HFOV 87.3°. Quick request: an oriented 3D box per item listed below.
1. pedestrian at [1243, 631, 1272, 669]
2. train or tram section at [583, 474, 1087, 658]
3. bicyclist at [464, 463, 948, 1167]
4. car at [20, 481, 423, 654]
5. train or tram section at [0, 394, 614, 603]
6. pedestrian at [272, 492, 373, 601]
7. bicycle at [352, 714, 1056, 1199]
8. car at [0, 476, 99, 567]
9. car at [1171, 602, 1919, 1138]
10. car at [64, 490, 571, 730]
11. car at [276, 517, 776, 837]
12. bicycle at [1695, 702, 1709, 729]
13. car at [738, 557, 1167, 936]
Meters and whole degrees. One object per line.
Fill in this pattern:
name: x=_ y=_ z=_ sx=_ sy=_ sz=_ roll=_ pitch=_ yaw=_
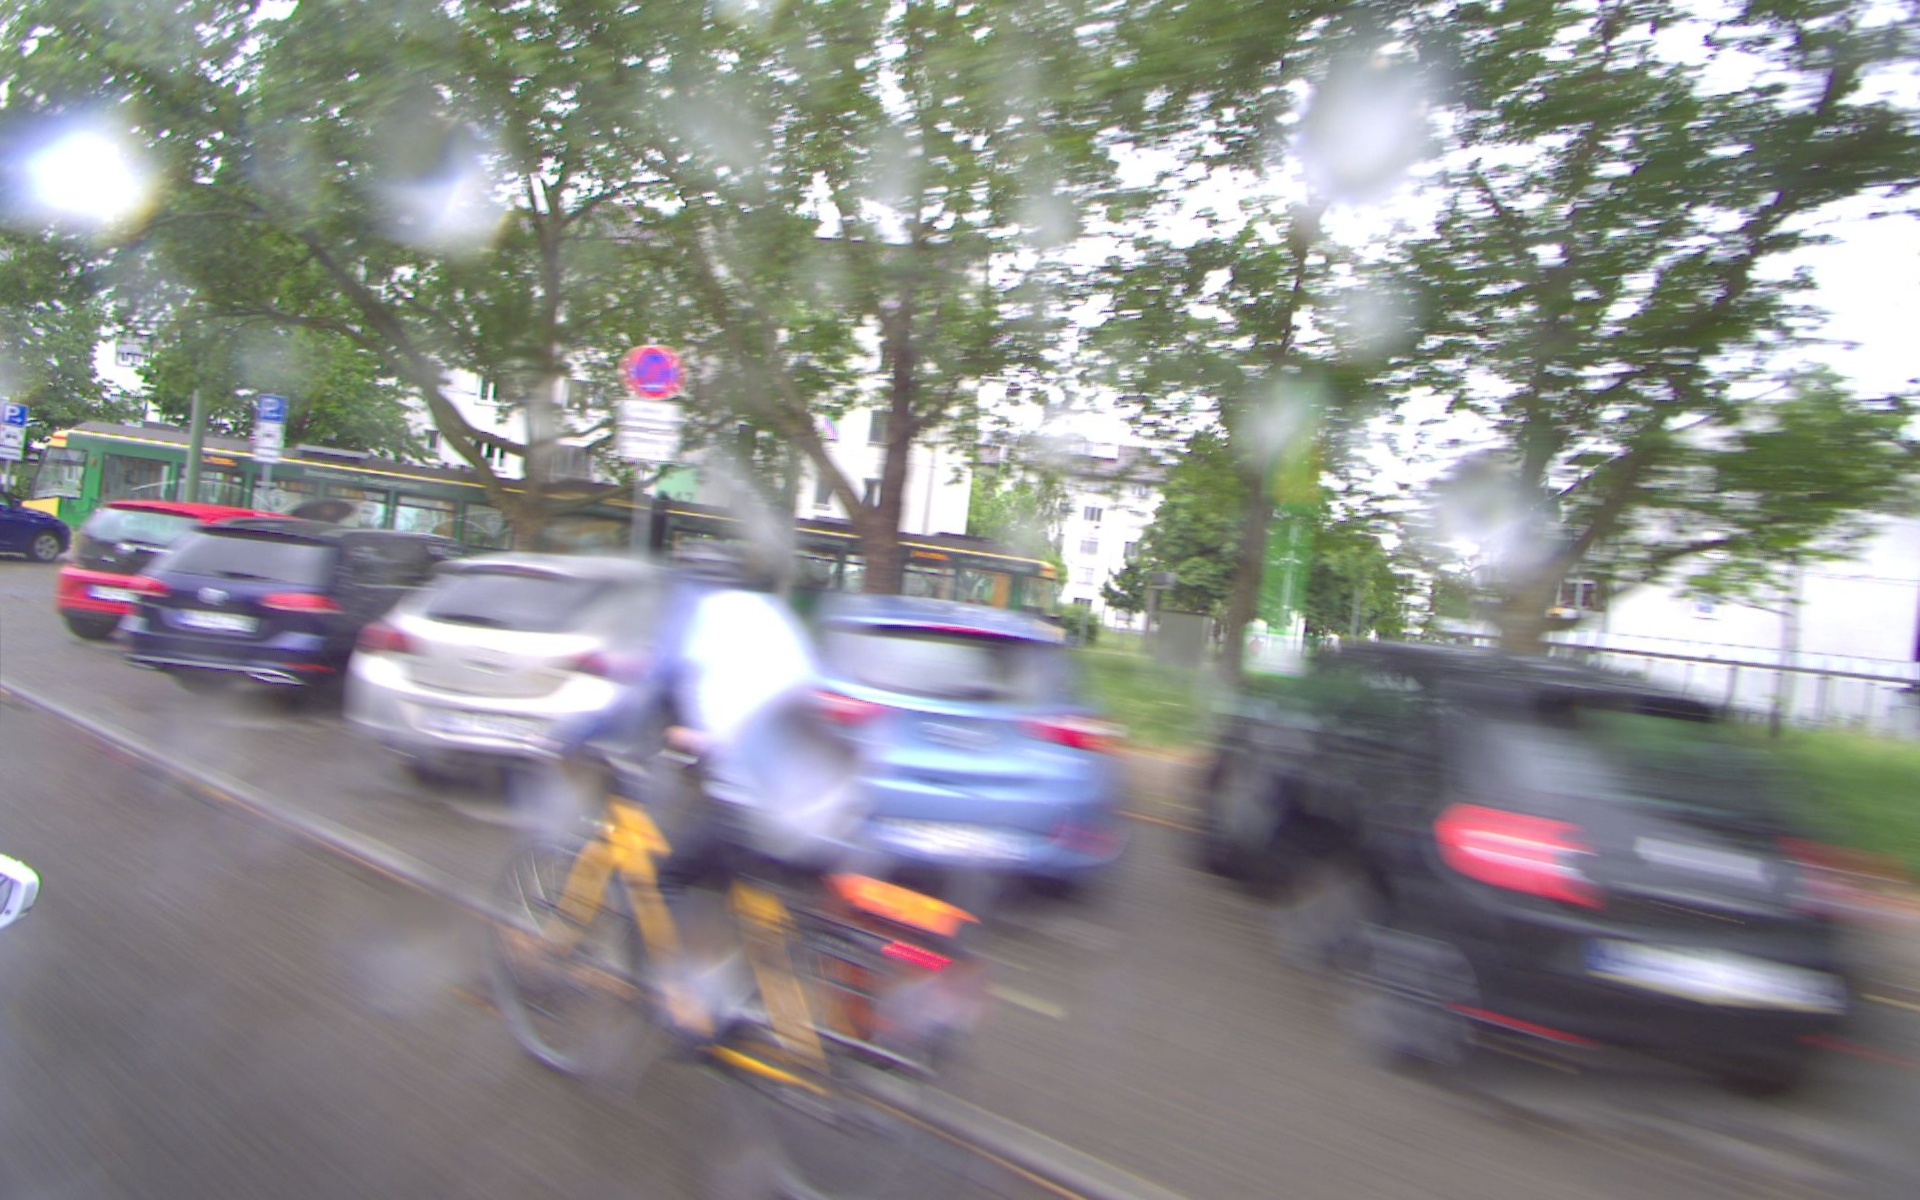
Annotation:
pedestrian: x=16.195 y=2.723 z=54.771 sx=1.169 sy=1.907 sz=1.052 roll=5 pitch=0 yaw=27
train or tram section: x=-3.571 y=-0.866 z=30.979 sx=14.492 sy=3.633 sz=2.710 roll=7 pitch=-1 yaw=-11
bicyclist: x=-0.676 y=0.463 z=2.709 sx=0.833 sy=1.504 sz=0.750 roll=9 pitch=2 yaw=36
car: x=-8.101 y=-0.337 z=11.485 sx=1.606 sy=1.499 sz=3.597 roll=7 pitch=2 yaw=6
train or tram section: x=-17.685 y=-2.572 z=28.272 sx=14.492 sy=3.633 sz=2.710 roll=7 pitch=-1 yaw=-11
pedestrian: x=-11.159 y=-0.930 z=17.616 sx=1.062 sy=1.736 sz=1.045 roll=7 pitch=2 yaw=33
bicycle: x=-0.803 y=1.030 z=2.771 sx=1.897 sy=1.086 sz=0.752 roll=8 pitch=2 yaw=37
car: x=-17.911 y=-1.525 z=17.668 sx=1.963 sy=1.502 sz=3.998 roll=8 pitch=1 yaw=1
car: x=2.422 y=0.901 z=5.002 sx=1.722 sy=1.526 sz=3.512 roll=5 pitch=2 yaw=-3
car: x=-5.363 y=0.029 z=9.189 sx=1.831 sy=1.499 sz=4.119 roll=6 pitch=2 yaw=1
car: x=-2.720 y=0.394 z=7.449 sx=1.924 sy=1.573 sz=3.997 roll=5 pitch=1 yaw=-1
bicycle: x=28.962 y=4.507 z=39.269 sx=0.372 sy=0.959 sz=1.233 roll=5 pitch=-1 yaw=36
car: x=-0.256 y=0.598 z=6.440 sx=1.792 sy=1.521 sz=3.990 roll=5 pitch=3 yaw=-7
